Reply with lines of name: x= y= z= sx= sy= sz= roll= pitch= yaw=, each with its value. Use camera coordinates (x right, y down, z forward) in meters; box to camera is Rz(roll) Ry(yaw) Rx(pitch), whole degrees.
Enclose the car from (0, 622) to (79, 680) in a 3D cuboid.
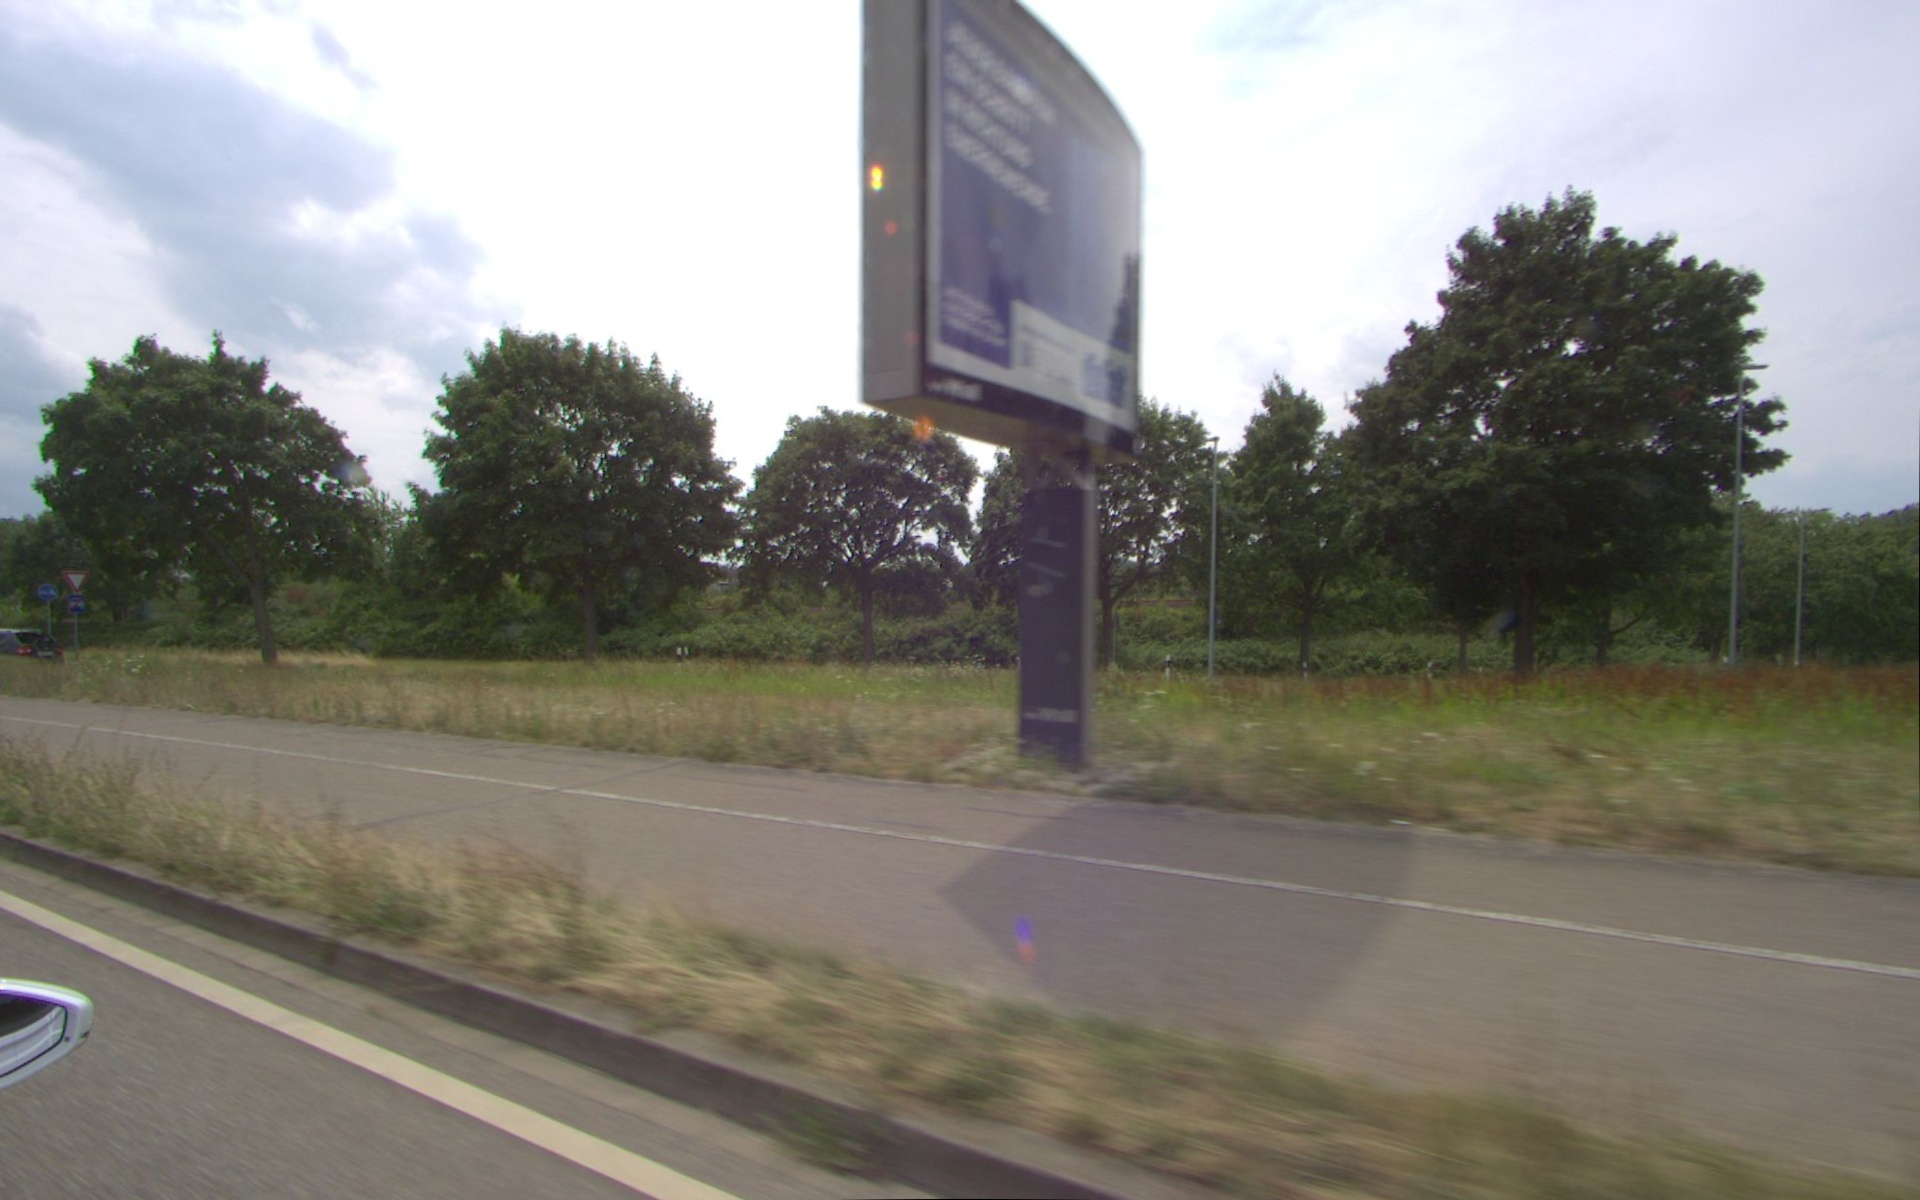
car: x=-29.911 y=1.545 z=30.830 sx=3.923 sy=1.690 sz=1.709 roll=1 pitch=-1 yaw=-5
